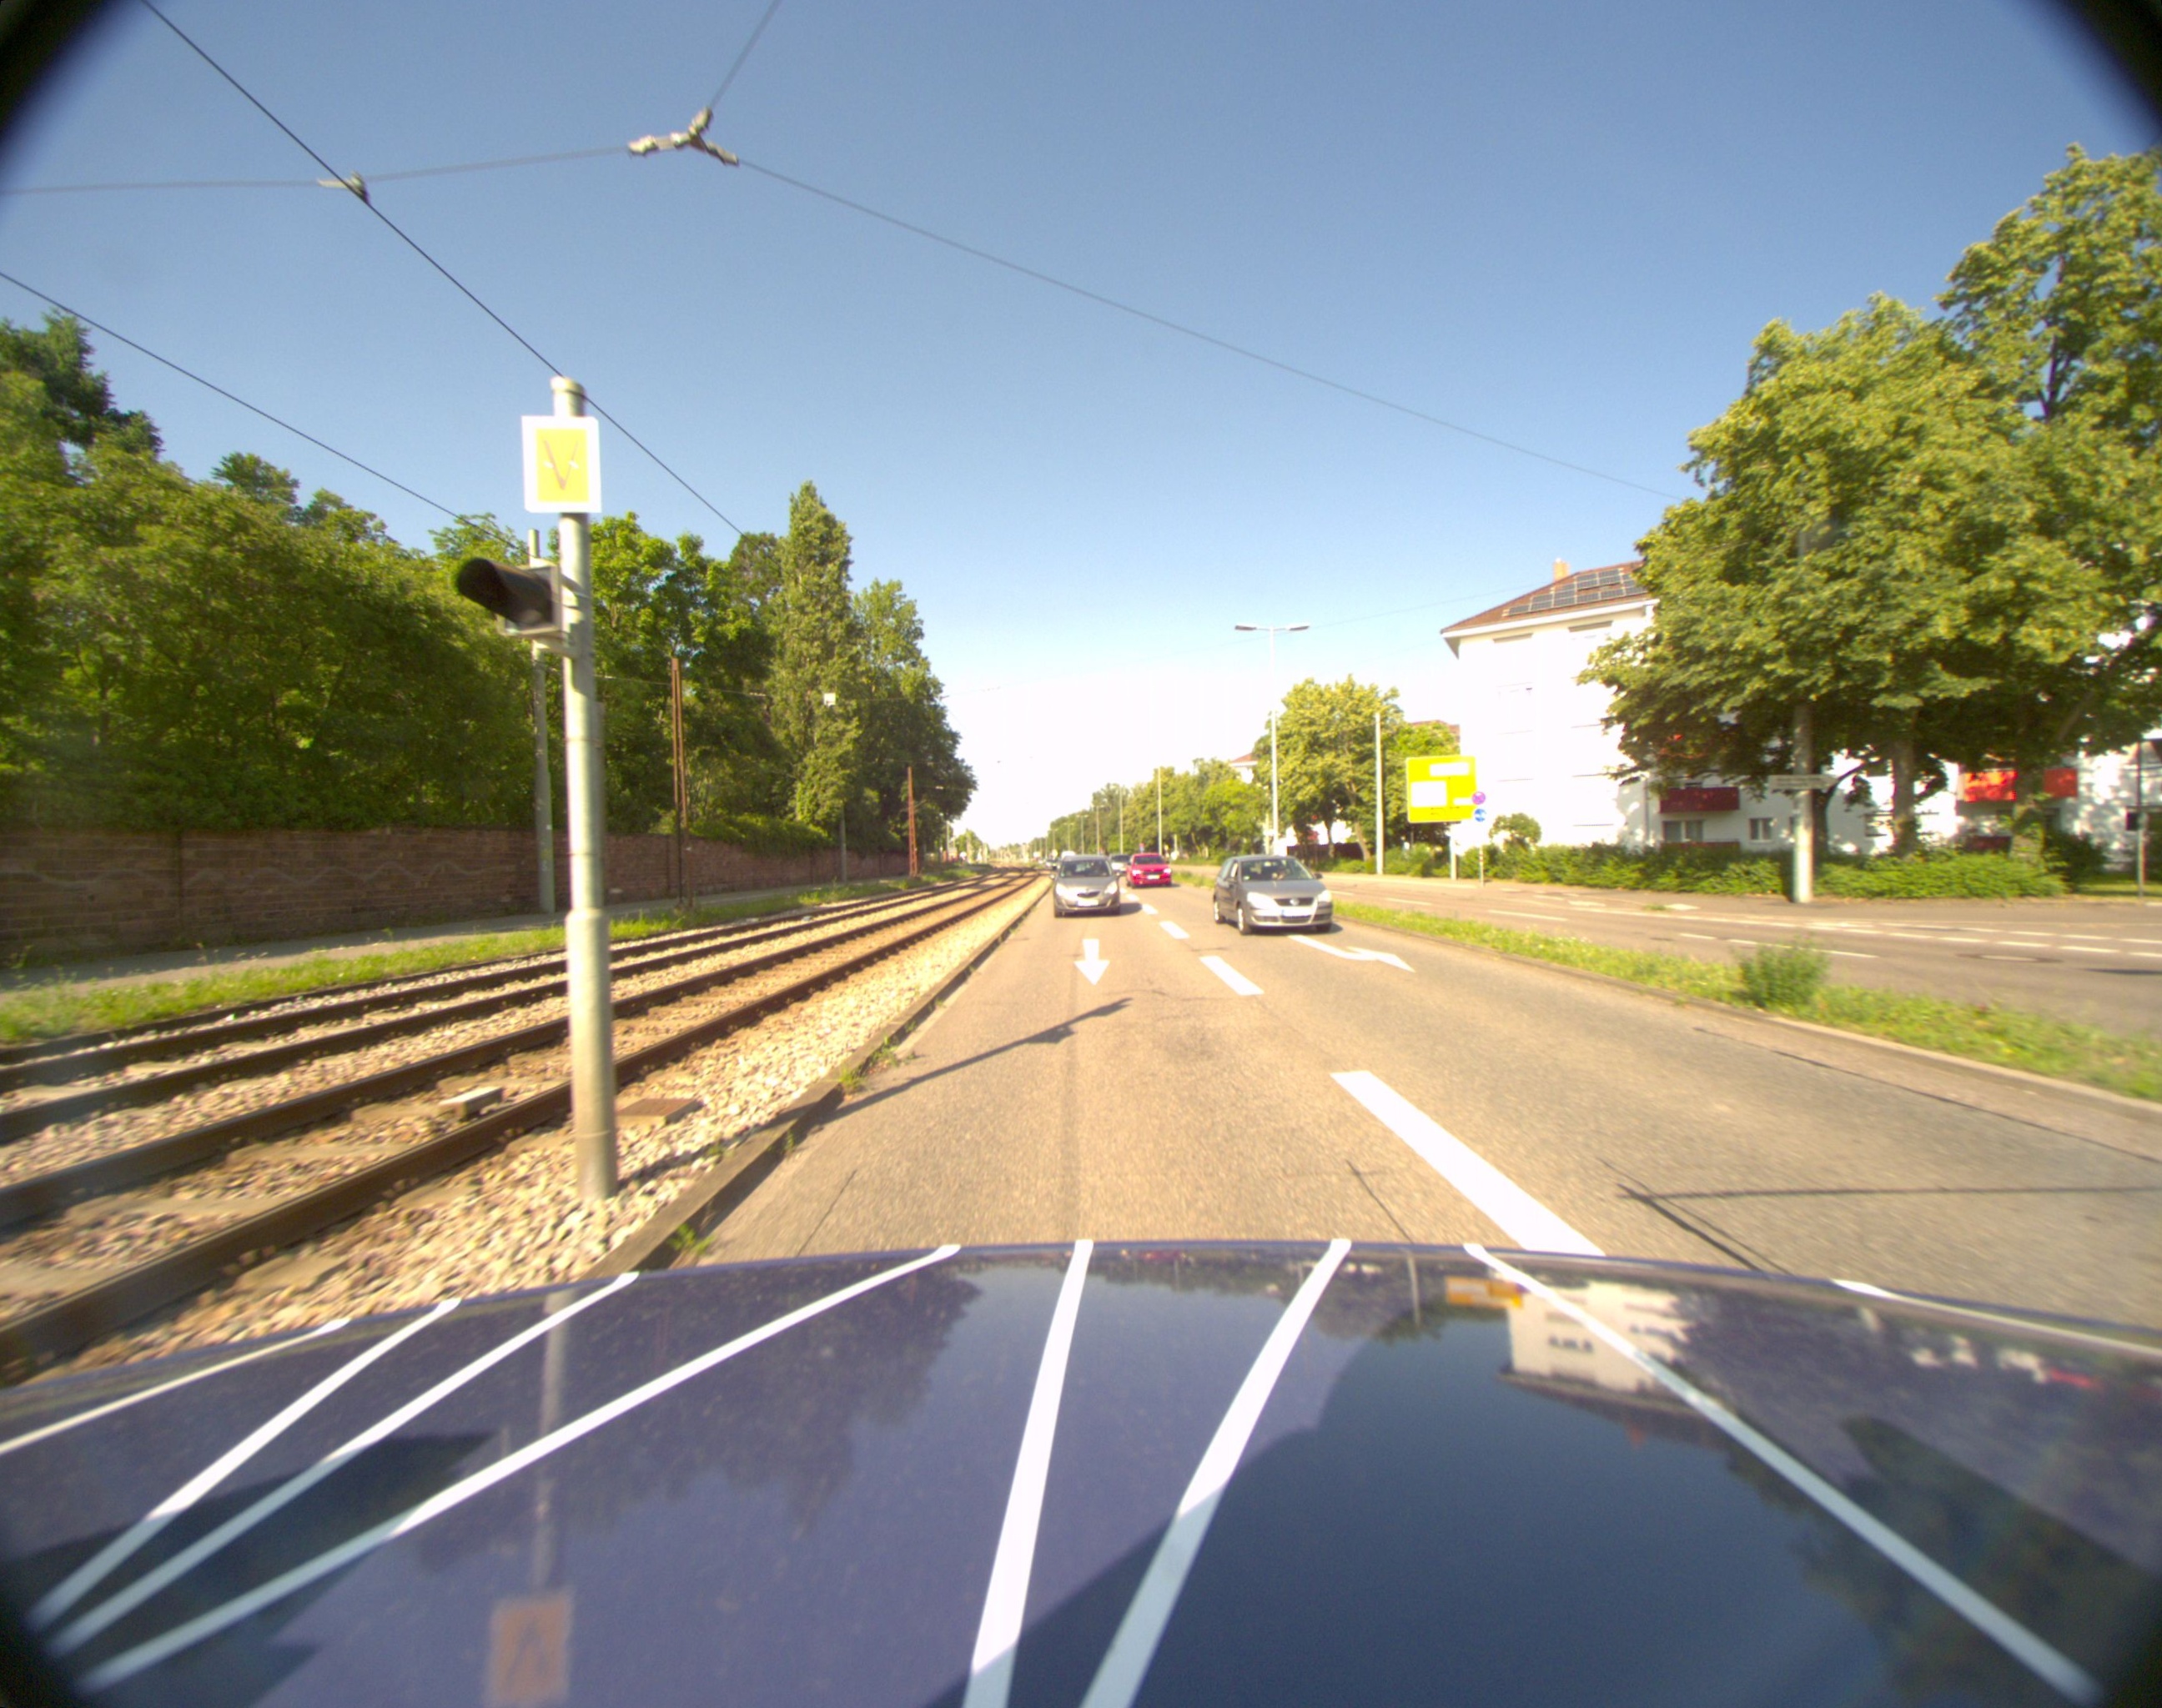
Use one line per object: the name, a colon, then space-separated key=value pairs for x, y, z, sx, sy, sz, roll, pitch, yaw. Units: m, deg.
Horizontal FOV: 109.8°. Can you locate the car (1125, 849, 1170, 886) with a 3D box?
car: x=3.097 y=0.603 z=35.804 sx=1.693 sy=1.573 sz=3.832 roll=-2 pitch=0 yaw=0

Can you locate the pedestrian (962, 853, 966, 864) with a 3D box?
pedestrian: x=-17.679 y=0.641 z=114.833 sx=0.501 sy=1.706 sz=0.885 roll=-1 pitch=0 yaw=2

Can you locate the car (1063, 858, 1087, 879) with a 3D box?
car: x=-0.509 y=1.131 z=60.939 sx=1.710 sy=1.513 sz=3.832 roll=-2 pitch=0 yaw=-2

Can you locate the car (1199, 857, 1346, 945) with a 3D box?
car: x=3.591 y=0.811 z=14.993 sx=1.693 sy=1.420 sz=3.832 roll=-2 pitch=0 yaw=-3

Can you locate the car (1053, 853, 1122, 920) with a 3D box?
car: x=0.172 y=0.804 z=20.673 sx=1.650 sy=1.581 sz=3.833 roll=-2 pitch=0 yaw=1

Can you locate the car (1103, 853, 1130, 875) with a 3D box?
car: x=2.628 y=0.722 z=56.871 sx=1.710 sy=1.513 sz=3.832 roll=-2 pitch=0 yaw=-1
